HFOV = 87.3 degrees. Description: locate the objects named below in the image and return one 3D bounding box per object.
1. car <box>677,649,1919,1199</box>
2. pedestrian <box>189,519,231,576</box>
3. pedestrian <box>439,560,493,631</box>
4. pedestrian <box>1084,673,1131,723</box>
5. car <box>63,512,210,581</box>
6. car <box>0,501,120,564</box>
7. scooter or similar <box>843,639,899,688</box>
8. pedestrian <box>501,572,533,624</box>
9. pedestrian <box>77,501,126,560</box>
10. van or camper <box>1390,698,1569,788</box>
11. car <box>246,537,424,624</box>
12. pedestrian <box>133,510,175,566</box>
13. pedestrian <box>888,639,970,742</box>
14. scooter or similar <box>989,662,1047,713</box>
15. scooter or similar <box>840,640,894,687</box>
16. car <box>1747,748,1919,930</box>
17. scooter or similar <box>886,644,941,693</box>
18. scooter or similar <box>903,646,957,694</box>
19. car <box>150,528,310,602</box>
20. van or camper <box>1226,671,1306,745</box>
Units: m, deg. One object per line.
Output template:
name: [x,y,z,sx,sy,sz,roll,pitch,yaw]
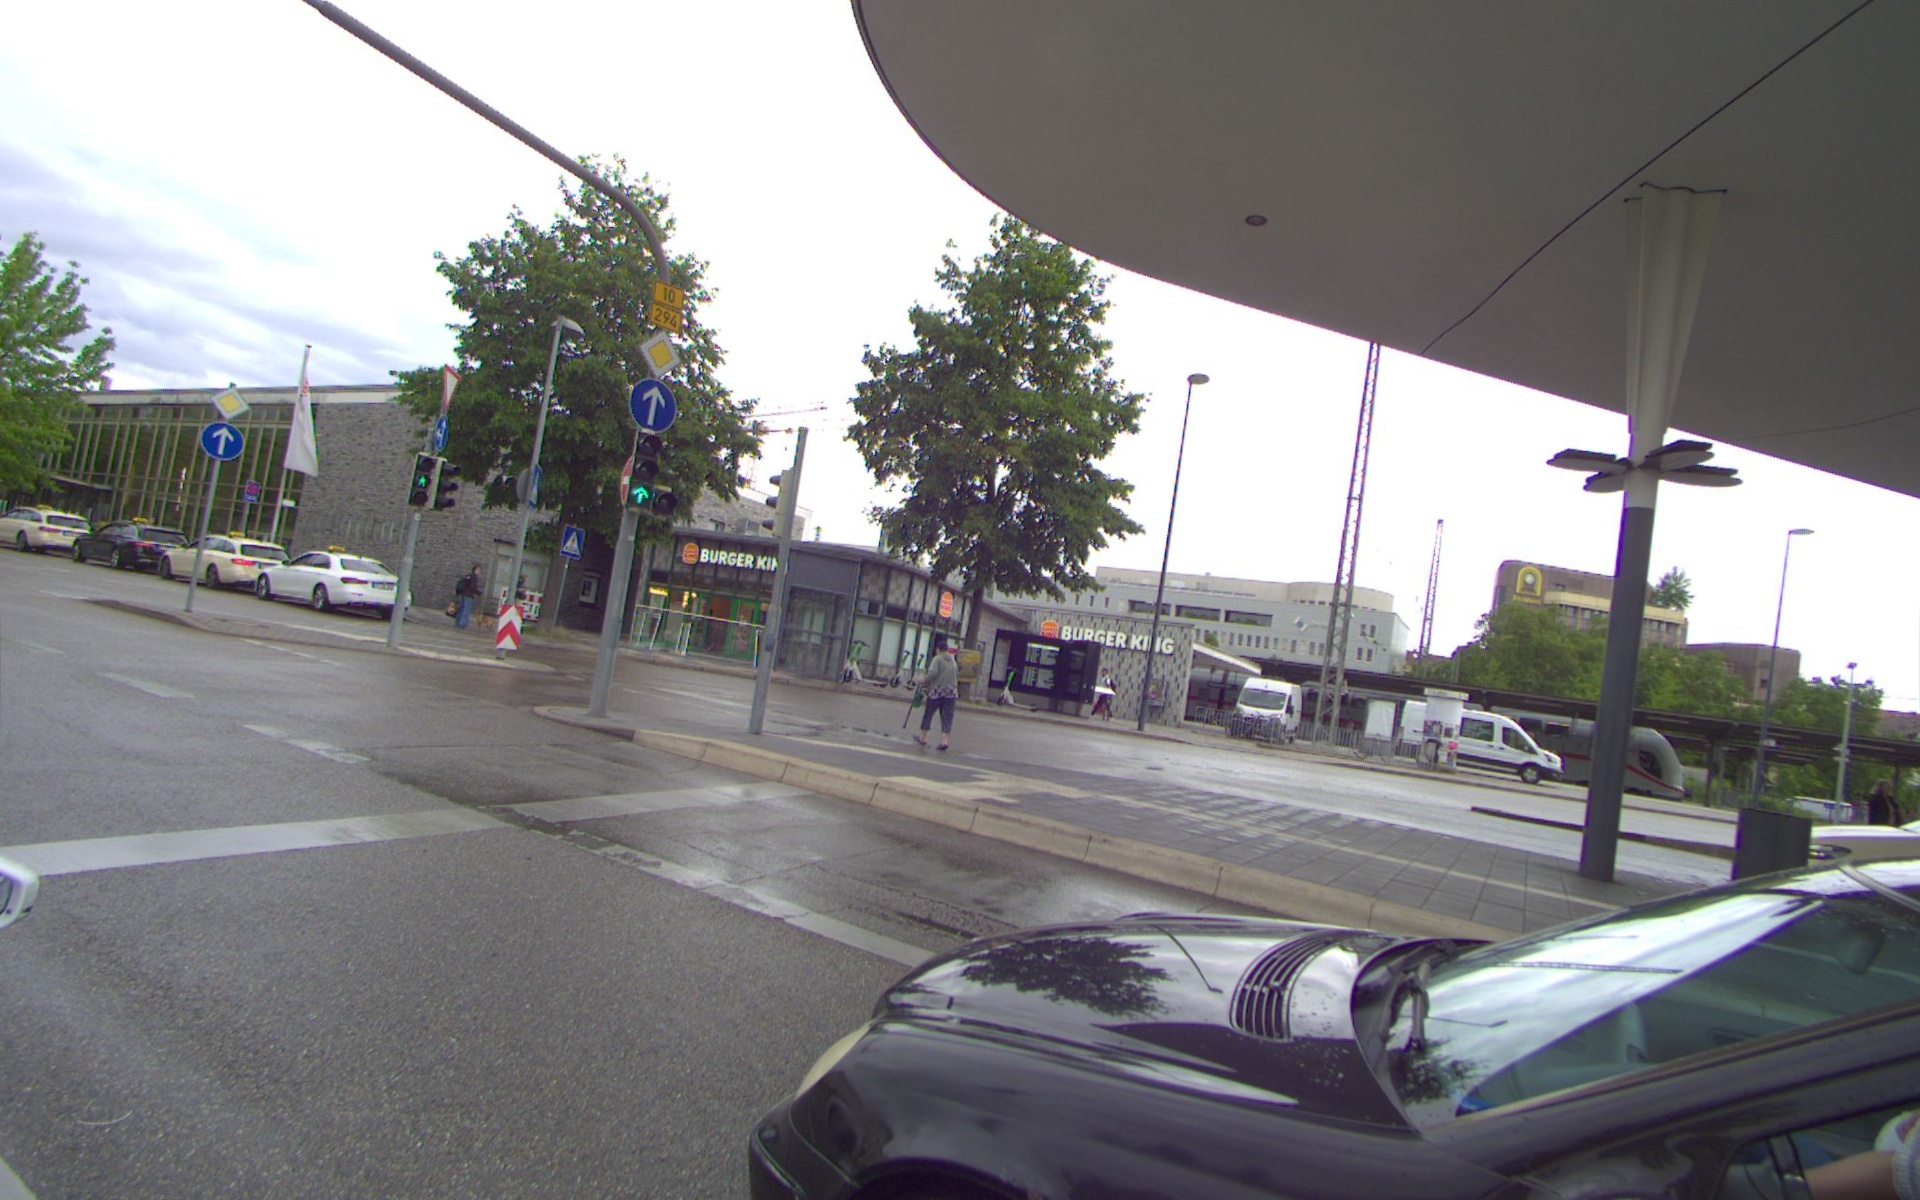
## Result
car: [1.779,1.147,1.507,4.364,1.493,1.753,4,-8,33]
pedestrian: [-29.365,-2.054,39.373,0.906,2.036,0.813,7,-2,31]
pedestrian: [-12.774,-0.113,26.035,0.700,1.693,0.809,7,-2,31]
pedestrian: [5.134,3.401,35.056,0.910,1.552,1.096,9,-2,-36]
car: [-25.832,-1.699,31.518,4.662,1.542,1.918,7,-2,30]
car: [-31.427,-2.375,34.529,4.736,1.618,2.000,7,-2,25]
scooter or similar: [-2.455,1.754,27.752,1.309,1.167,0.465,9,-2,-21]
pedestrian: [-15.030,-0.063,34.122,0.556,1.652,0.562,7,-2,30]
pedestrian: [-32.745,-2.645,38.378,0.904,2.036,0.815,8,-1,8]
van or camper: [20.345,5.544,39.534,5.873,2.491,2.108,7,-2,32]
car: [-15.848,-0.508,25.448,4.538,1.608,1.779,7,-2,30]
pedestrian: [-31.929,-2.462,39.843,0.906,2.036,0.813,7,-2,32]
pedestrian: [-0.446,1.337,14.780,0.753,1.374,0.738,7,-3,31]
scooter or similar: [1.718,2.591,29.766,1.503,1.284,0.467,8,-1,-4]
scooter or similar: [-2.623,1.803,28.410,1.313,1.157,0.464,9,-2,-31]
car: [11.238,2.788,10.555,4.360,1.665,1.807,7,-5,32]
scooter or similar: [-1.406,2.060,30.339,1.503,1.284,0.467,8,-1,-4]
scooter or similar: [-0.943,2.158,31.164,1.503,1.284,0.467,8,-1,-4]
car: [-20.625,-1.004,28.376,4.588,1.468,1.851,7,-2,30]
van or camper: [12.546,4.408,41.003,2.072,2.491,5.975,7,-3,25]
